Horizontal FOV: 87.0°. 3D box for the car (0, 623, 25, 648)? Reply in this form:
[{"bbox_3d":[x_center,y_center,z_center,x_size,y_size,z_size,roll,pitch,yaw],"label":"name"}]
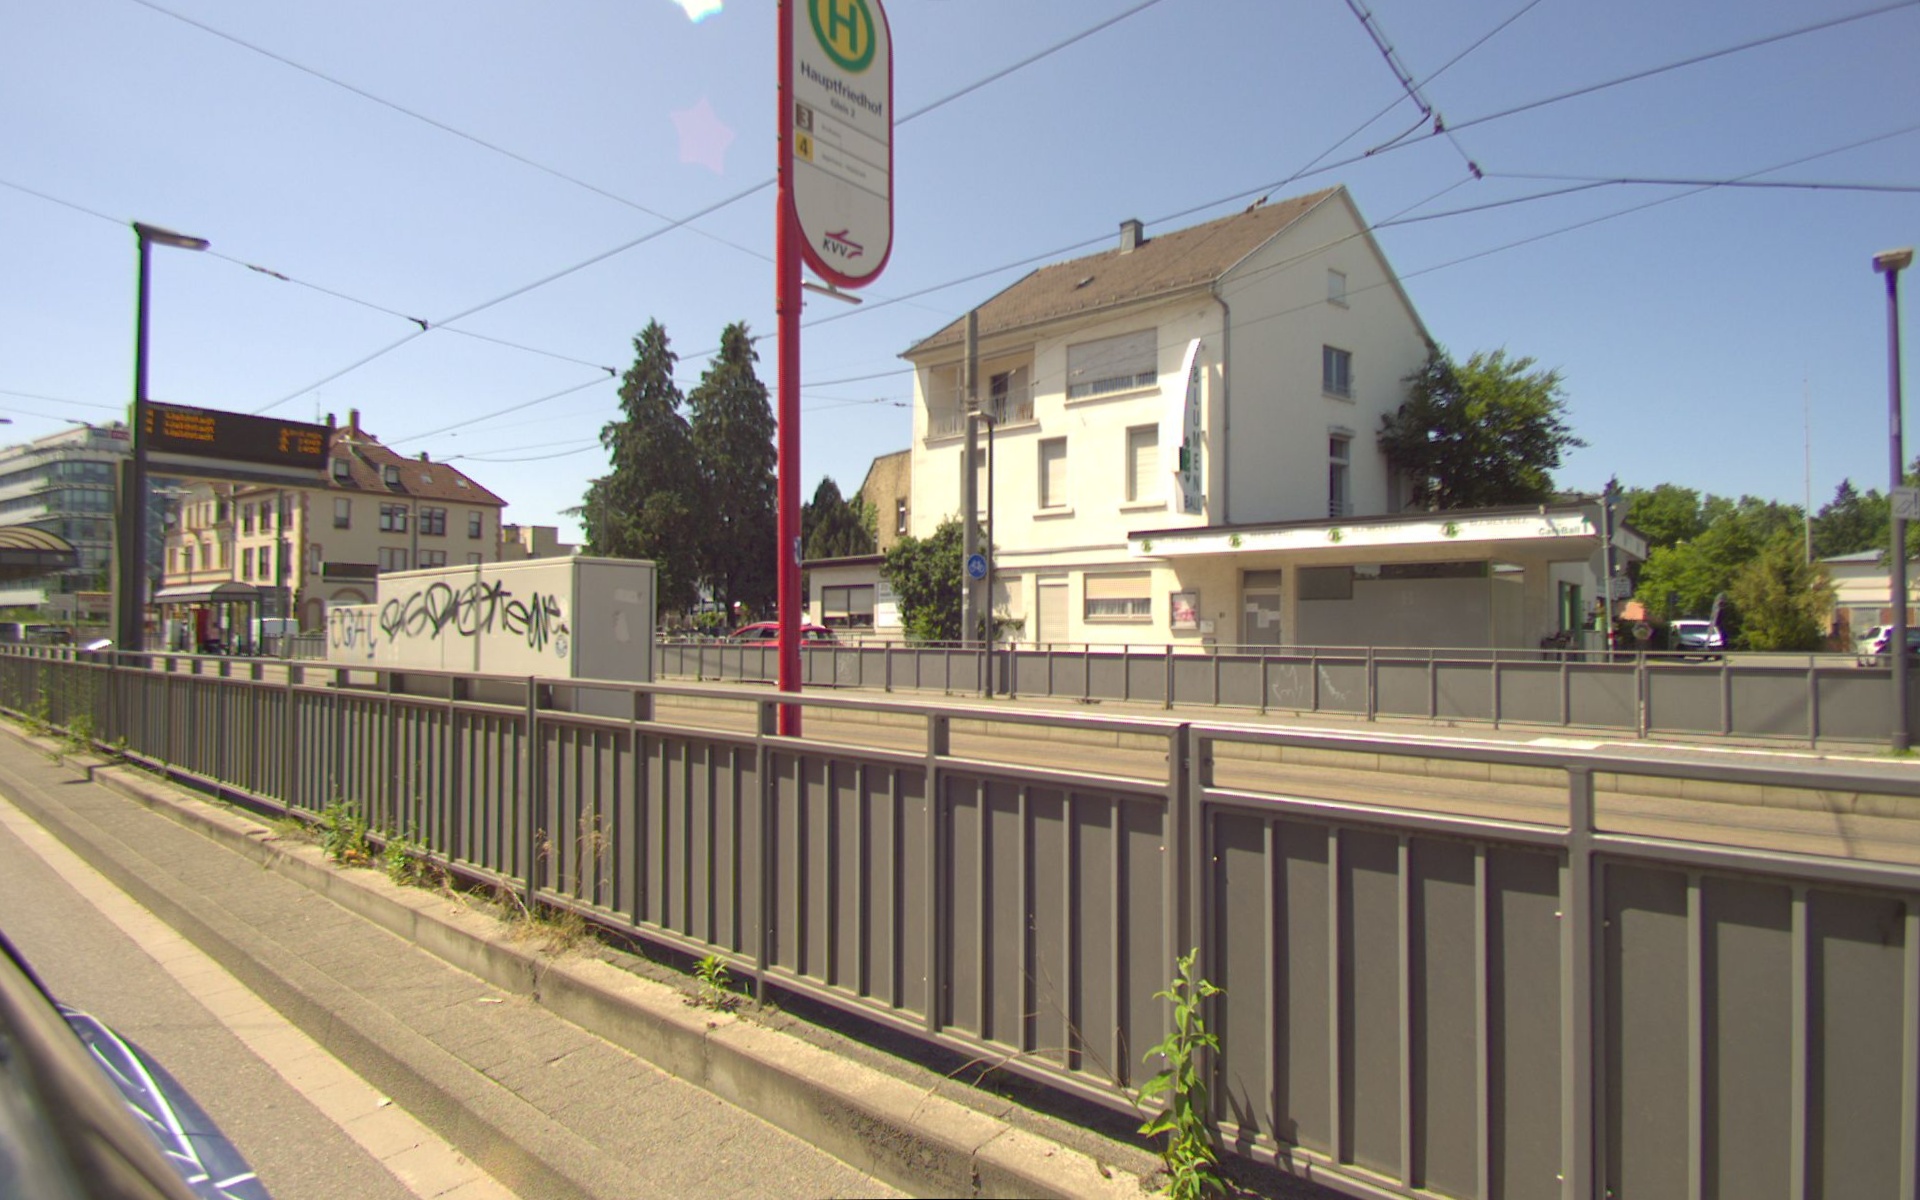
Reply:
[{"bbox_3d":[-73.376,2.715,77.374,3.991,1.852,1.976,-1,-2,35],"label":"car"}]

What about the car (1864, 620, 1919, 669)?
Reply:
[{"bbox_3d":[29.451,1.392,31.654,1.644,1.457,3.761,-2,-3,41],"label":"car"}]

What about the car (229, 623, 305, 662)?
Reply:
[{"bbox_3d":[-34.115,2.072,49.768,4.694,1.830,1.837,-1,-3,40],"label":"car"}]

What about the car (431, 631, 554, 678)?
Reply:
[{"bbox_3d":[-15.689,1.783,33.863,4.617,1.479,1.800,-1,-3,38],"label":"car"}]

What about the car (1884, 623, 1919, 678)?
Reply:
[{"bbox_3d":[25.554,1.340,26.696,1.644,1.381,3.760,-2,-3,42],"label":"car"}]

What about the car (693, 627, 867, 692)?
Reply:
[{"bbox_3d":[-4.346,1.377,24.180,4.170,1.406,1.800,-1,-3,38],"label":"car"}]

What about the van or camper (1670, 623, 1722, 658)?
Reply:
[{"bbox_3d":[34.763,1.879,47.891,1.686,1.578,3.784,-1,-2,32],"label":"van or camper"}]
